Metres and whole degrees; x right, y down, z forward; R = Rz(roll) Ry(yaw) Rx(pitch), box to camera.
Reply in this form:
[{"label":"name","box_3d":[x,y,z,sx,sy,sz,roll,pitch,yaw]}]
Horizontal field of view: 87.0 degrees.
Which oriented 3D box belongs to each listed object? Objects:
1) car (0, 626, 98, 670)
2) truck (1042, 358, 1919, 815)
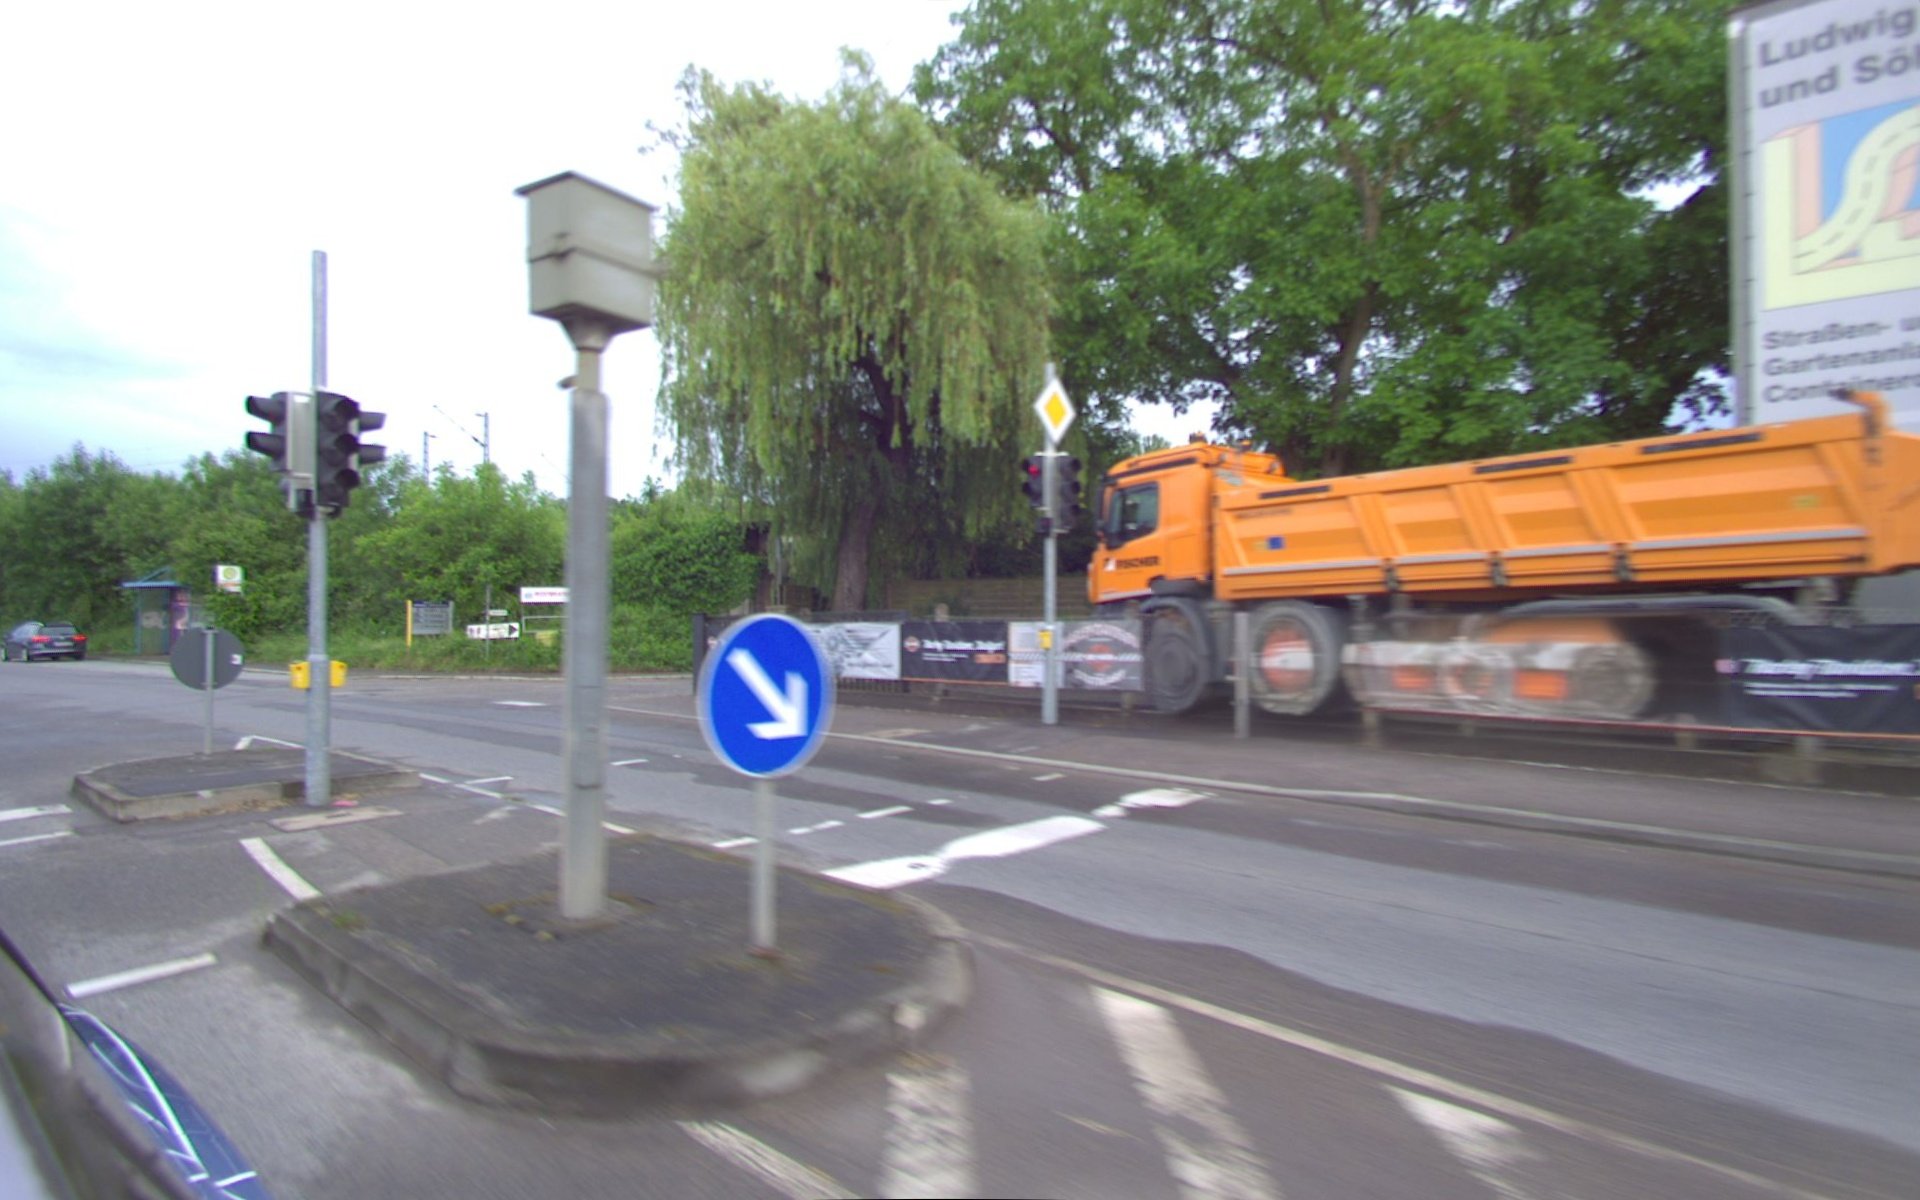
[{"label":"car","box_3d":[-35.549,1.821,39.113,4.683,1.485,1.979,-1,1,31]},{"label":"truck","box_3d":[5.237,-0.201,11.563,2.666,3.437,9.079,-2,2,-44]}]
